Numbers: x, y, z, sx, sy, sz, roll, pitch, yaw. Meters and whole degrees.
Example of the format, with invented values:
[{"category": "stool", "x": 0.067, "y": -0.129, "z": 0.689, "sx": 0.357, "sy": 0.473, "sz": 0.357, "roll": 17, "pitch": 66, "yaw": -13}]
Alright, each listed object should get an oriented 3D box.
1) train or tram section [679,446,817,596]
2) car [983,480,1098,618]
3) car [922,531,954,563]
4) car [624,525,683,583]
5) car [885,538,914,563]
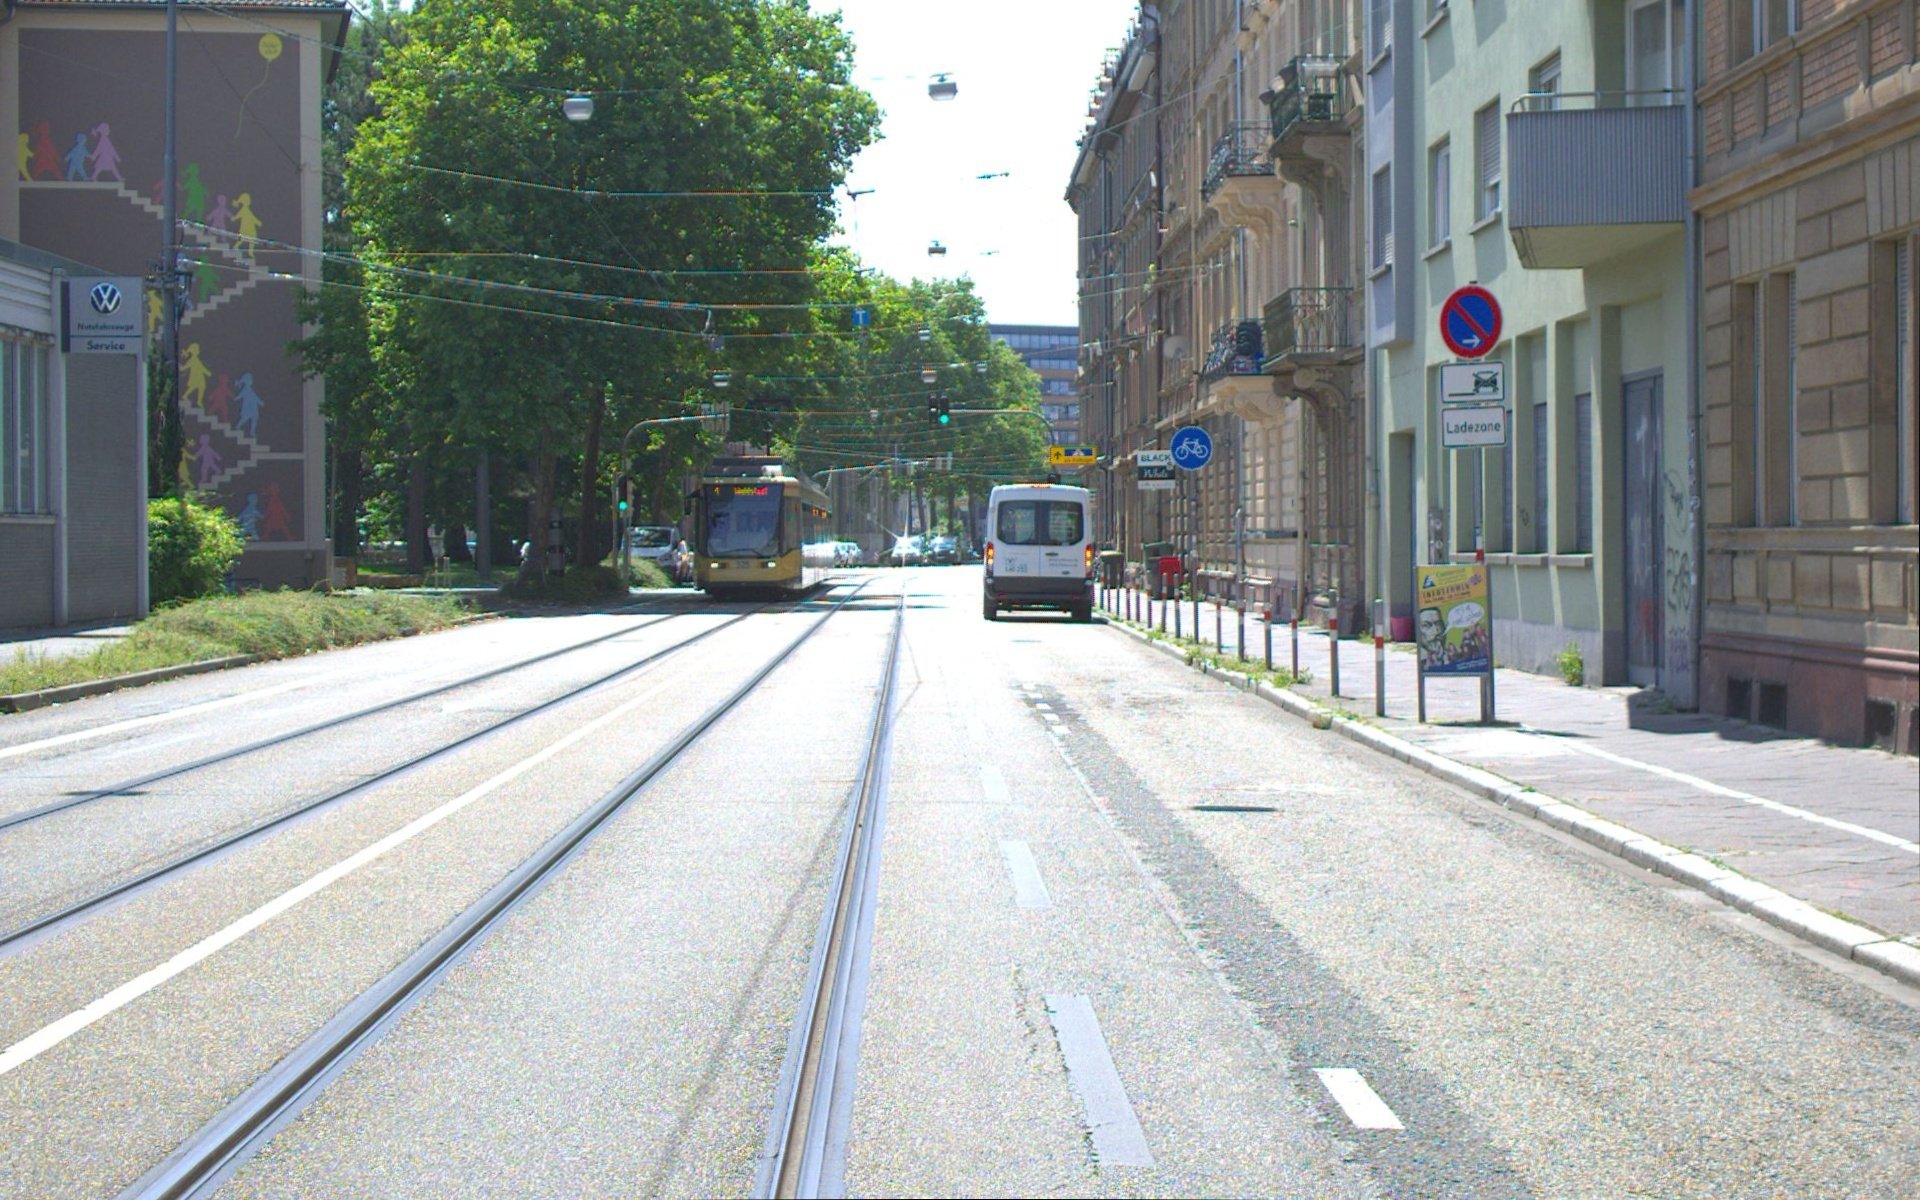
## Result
[{"category": "train or tram section", "x": -5.295, "y": -1.998, "z": 88.082, "sx": 2.960, "sy": 3.568, "sz": 13.424, "roll": 0, "pitch": 1, "yaw": -1}, {"category": "car", "x": 1.497, "y": -0.987, "z": 65.728, "sx": 2.067, "sy": 2.492, "sz": 5.454, "roll": 1, "pitch": 1, "yaw": 0}, {"category": "car", "x": -1.305, "y": -3.159, "z": 205.144, "sx": 1.673, "sy": 1.853, "sz": 4.001, "roll": 1, "pitch": 1, "yaw": -3}, {"category": "car", "x": -10.304, "y": -1.559, "z": 115.758, "sx": 1.800, "sy": 1.916, "sz": 4.001, "roll": 1, "pitch": 1, "yaw": -3}, {"category": "car", "x": -3.506, "y": -2.857, "z": 197.959, "sx": 1.528, "sy": 1.404, "sz": 3.490, "roll": 1, "pitch": 1, "yaw": -3}]
